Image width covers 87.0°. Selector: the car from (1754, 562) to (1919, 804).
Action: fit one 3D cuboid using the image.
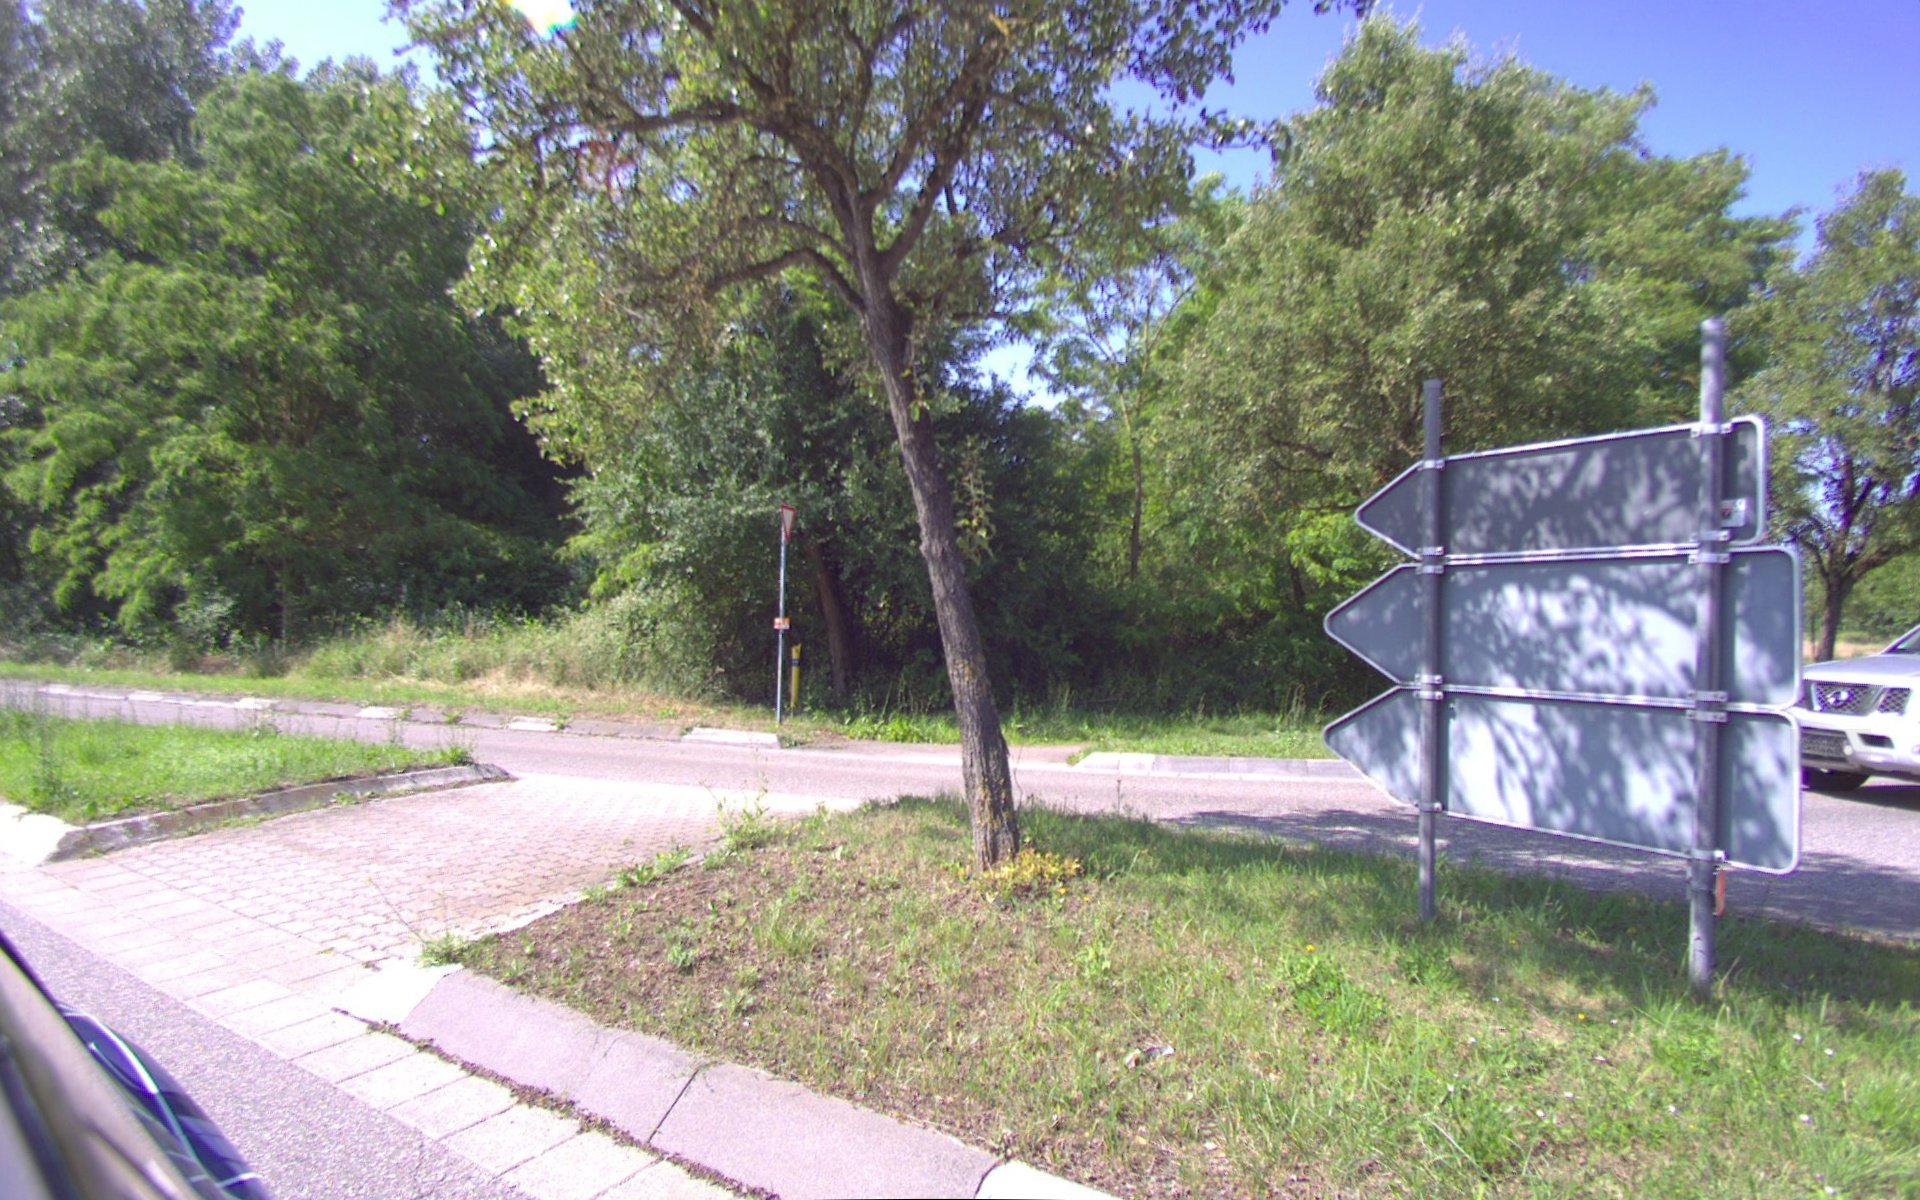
[{"bbox_3d":[9.473,0.675,8.310,4.526,1.829,1.902,1,-2,-5],"label":"car"}]
